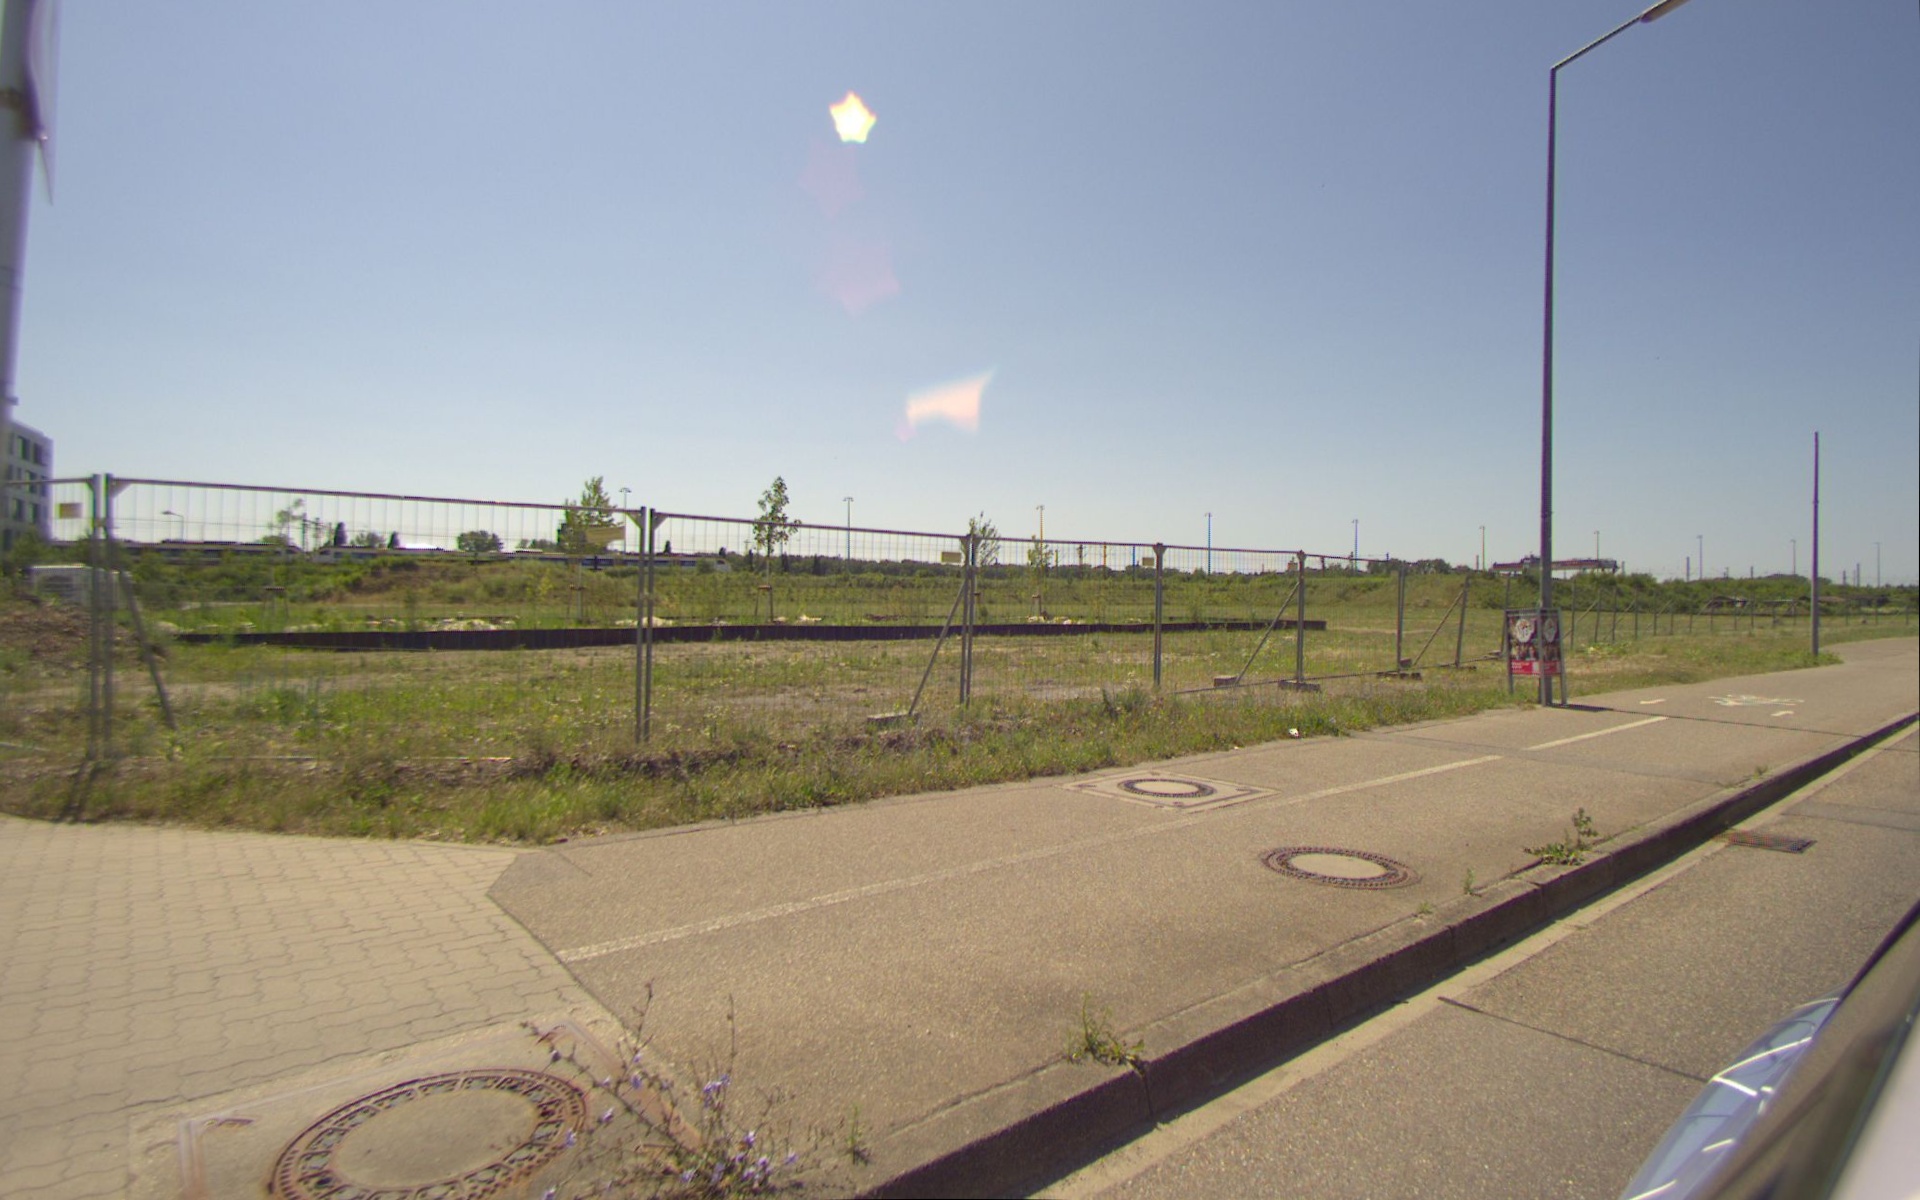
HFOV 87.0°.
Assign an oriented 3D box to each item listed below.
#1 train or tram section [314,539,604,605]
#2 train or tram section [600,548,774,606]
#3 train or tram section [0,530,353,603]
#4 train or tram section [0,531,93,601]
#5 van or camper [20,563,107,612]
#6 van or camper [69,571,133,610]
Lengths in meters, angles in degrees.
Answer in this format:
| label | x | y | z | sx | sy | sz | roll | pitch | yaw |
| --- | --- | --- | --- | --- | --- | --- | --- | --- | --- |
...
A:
| label | x | y | z | sx | sy | sz | roll | pitch | yaw |
| --- | --- | --- | --- | --- | --- | --- | --- | --- | --- |
| train or tram section | -85.323 | -4.439 | 175.552 | 43.852 | 10.052 | 9.617 | 1 | -1 | -24 |
| train or tram section | -51.335 | -4.037 | 190.723 | 30.562 | 10.052 | 9.617 | 1 | -1 | -24 |
| train or tram section | -121.666 | -4.789 | 159.208 | 43.852 | 10.052 | 9.616 | 1 | -1 | -24 |
| train or tram section | -145.747 | -4.947 | 148.407 | 26.440 | 10.052 | 9.617 | 1 | -1 | -24 |
| van or camper | -54.462 | -0.744 | 61.640 | 2.513 | 2.811 | 6.434 | 1 | 0 | -29 |
| van or camper | -58.666 | -0.649 | 69.252 | 2.356 | 2.567 | 5.442 | 1 | 0 | -30 |
